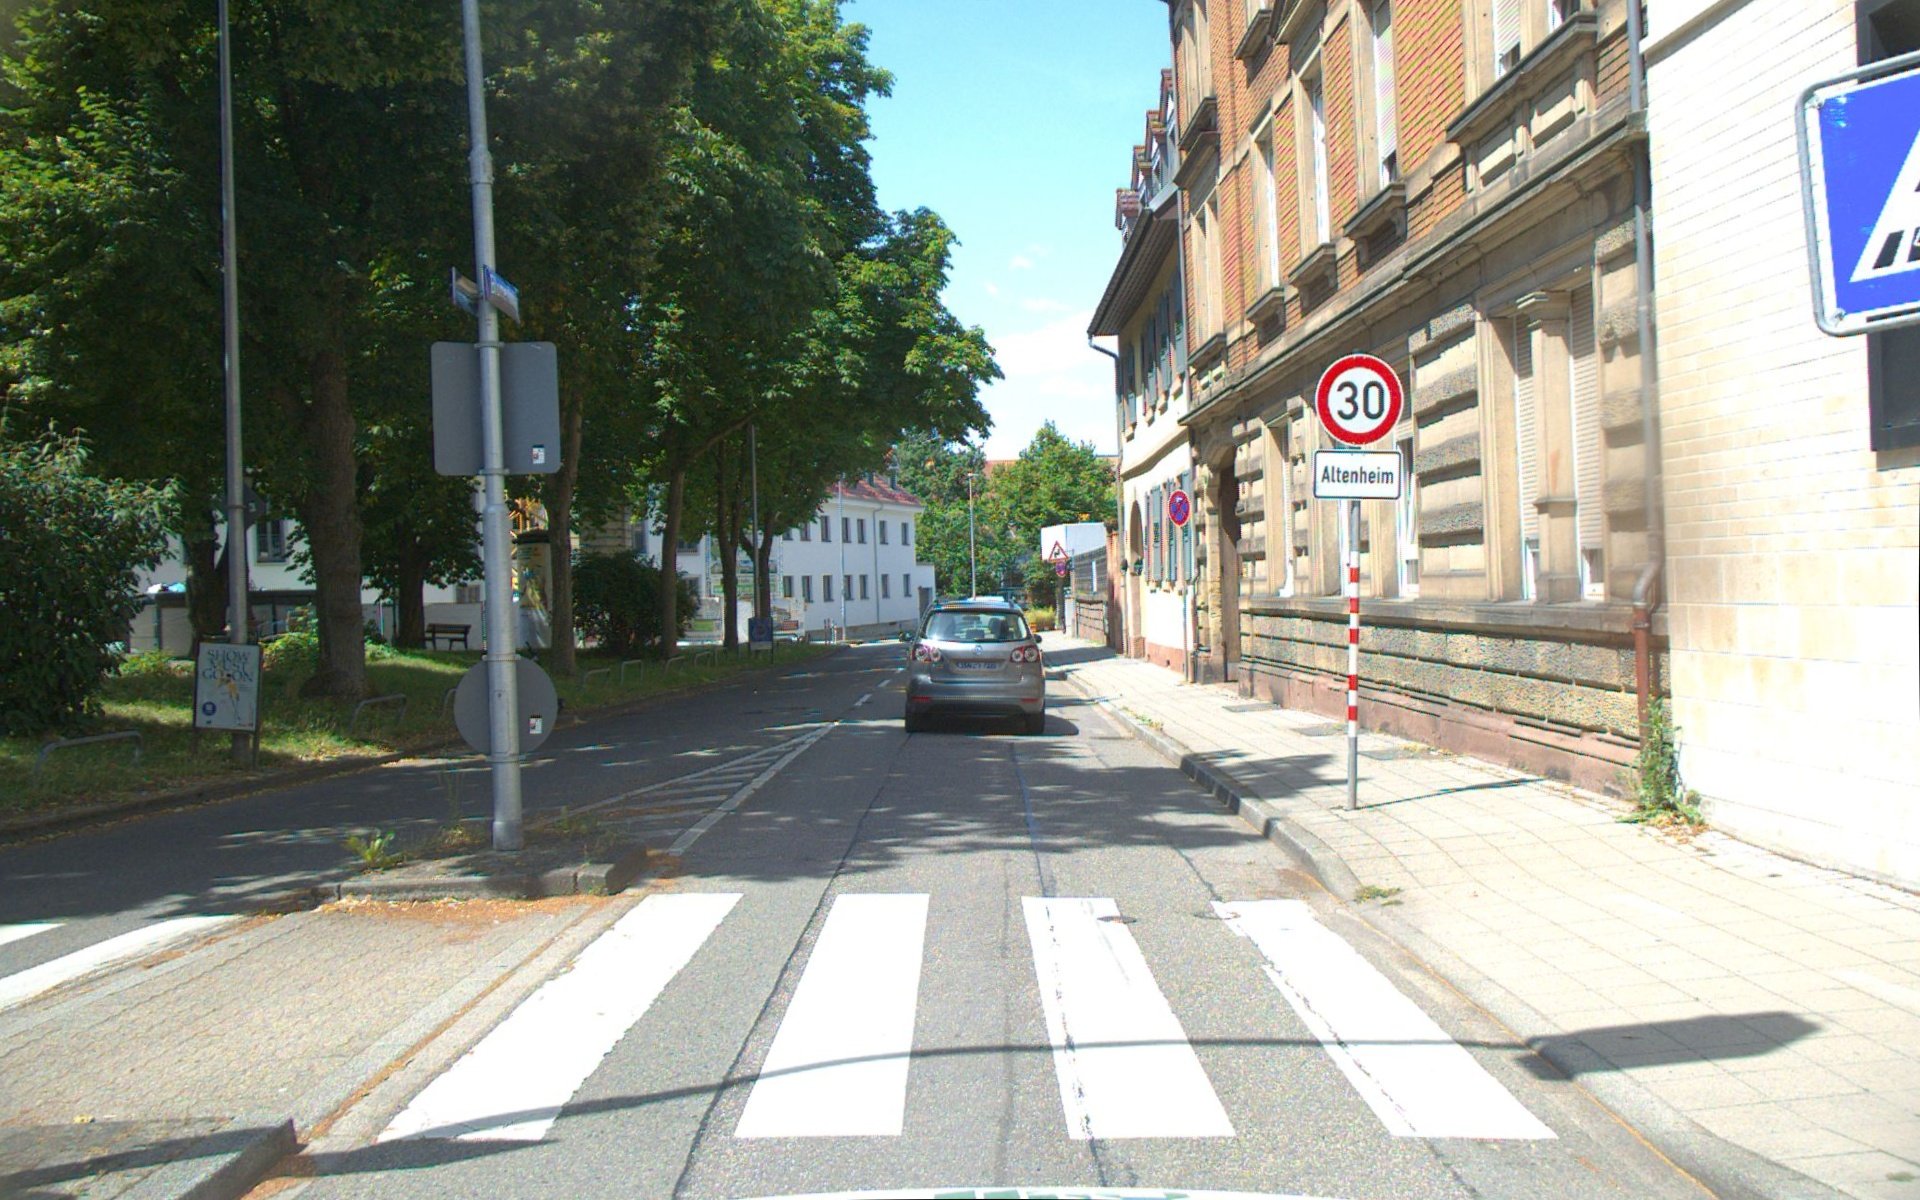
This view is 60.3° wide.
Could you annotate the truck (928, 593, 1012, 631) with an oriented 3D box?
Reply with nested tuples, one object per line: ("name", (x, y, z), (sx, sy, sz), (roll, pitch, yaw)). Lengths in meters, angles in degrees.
("truck", (0.554, 0.690, 97.710), (4.702, 2.049, 2.143), (-2, 0, -7))

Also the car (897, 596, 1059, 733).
("car", (0.241, 0.748, 21.273), (1.864, 1.560, 4.244), (1, 0, 1))

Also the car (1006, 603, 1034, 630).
("car", (3.697, 1.006, 102.347), (1.613, 1.601, 3.639), (-1, 0, 0))

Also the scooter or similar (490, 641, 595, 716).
("scooter or similar", (-6.643, 1.240, 26.410), (1.247, 1.008, 1.451), (6, -1, -2))
